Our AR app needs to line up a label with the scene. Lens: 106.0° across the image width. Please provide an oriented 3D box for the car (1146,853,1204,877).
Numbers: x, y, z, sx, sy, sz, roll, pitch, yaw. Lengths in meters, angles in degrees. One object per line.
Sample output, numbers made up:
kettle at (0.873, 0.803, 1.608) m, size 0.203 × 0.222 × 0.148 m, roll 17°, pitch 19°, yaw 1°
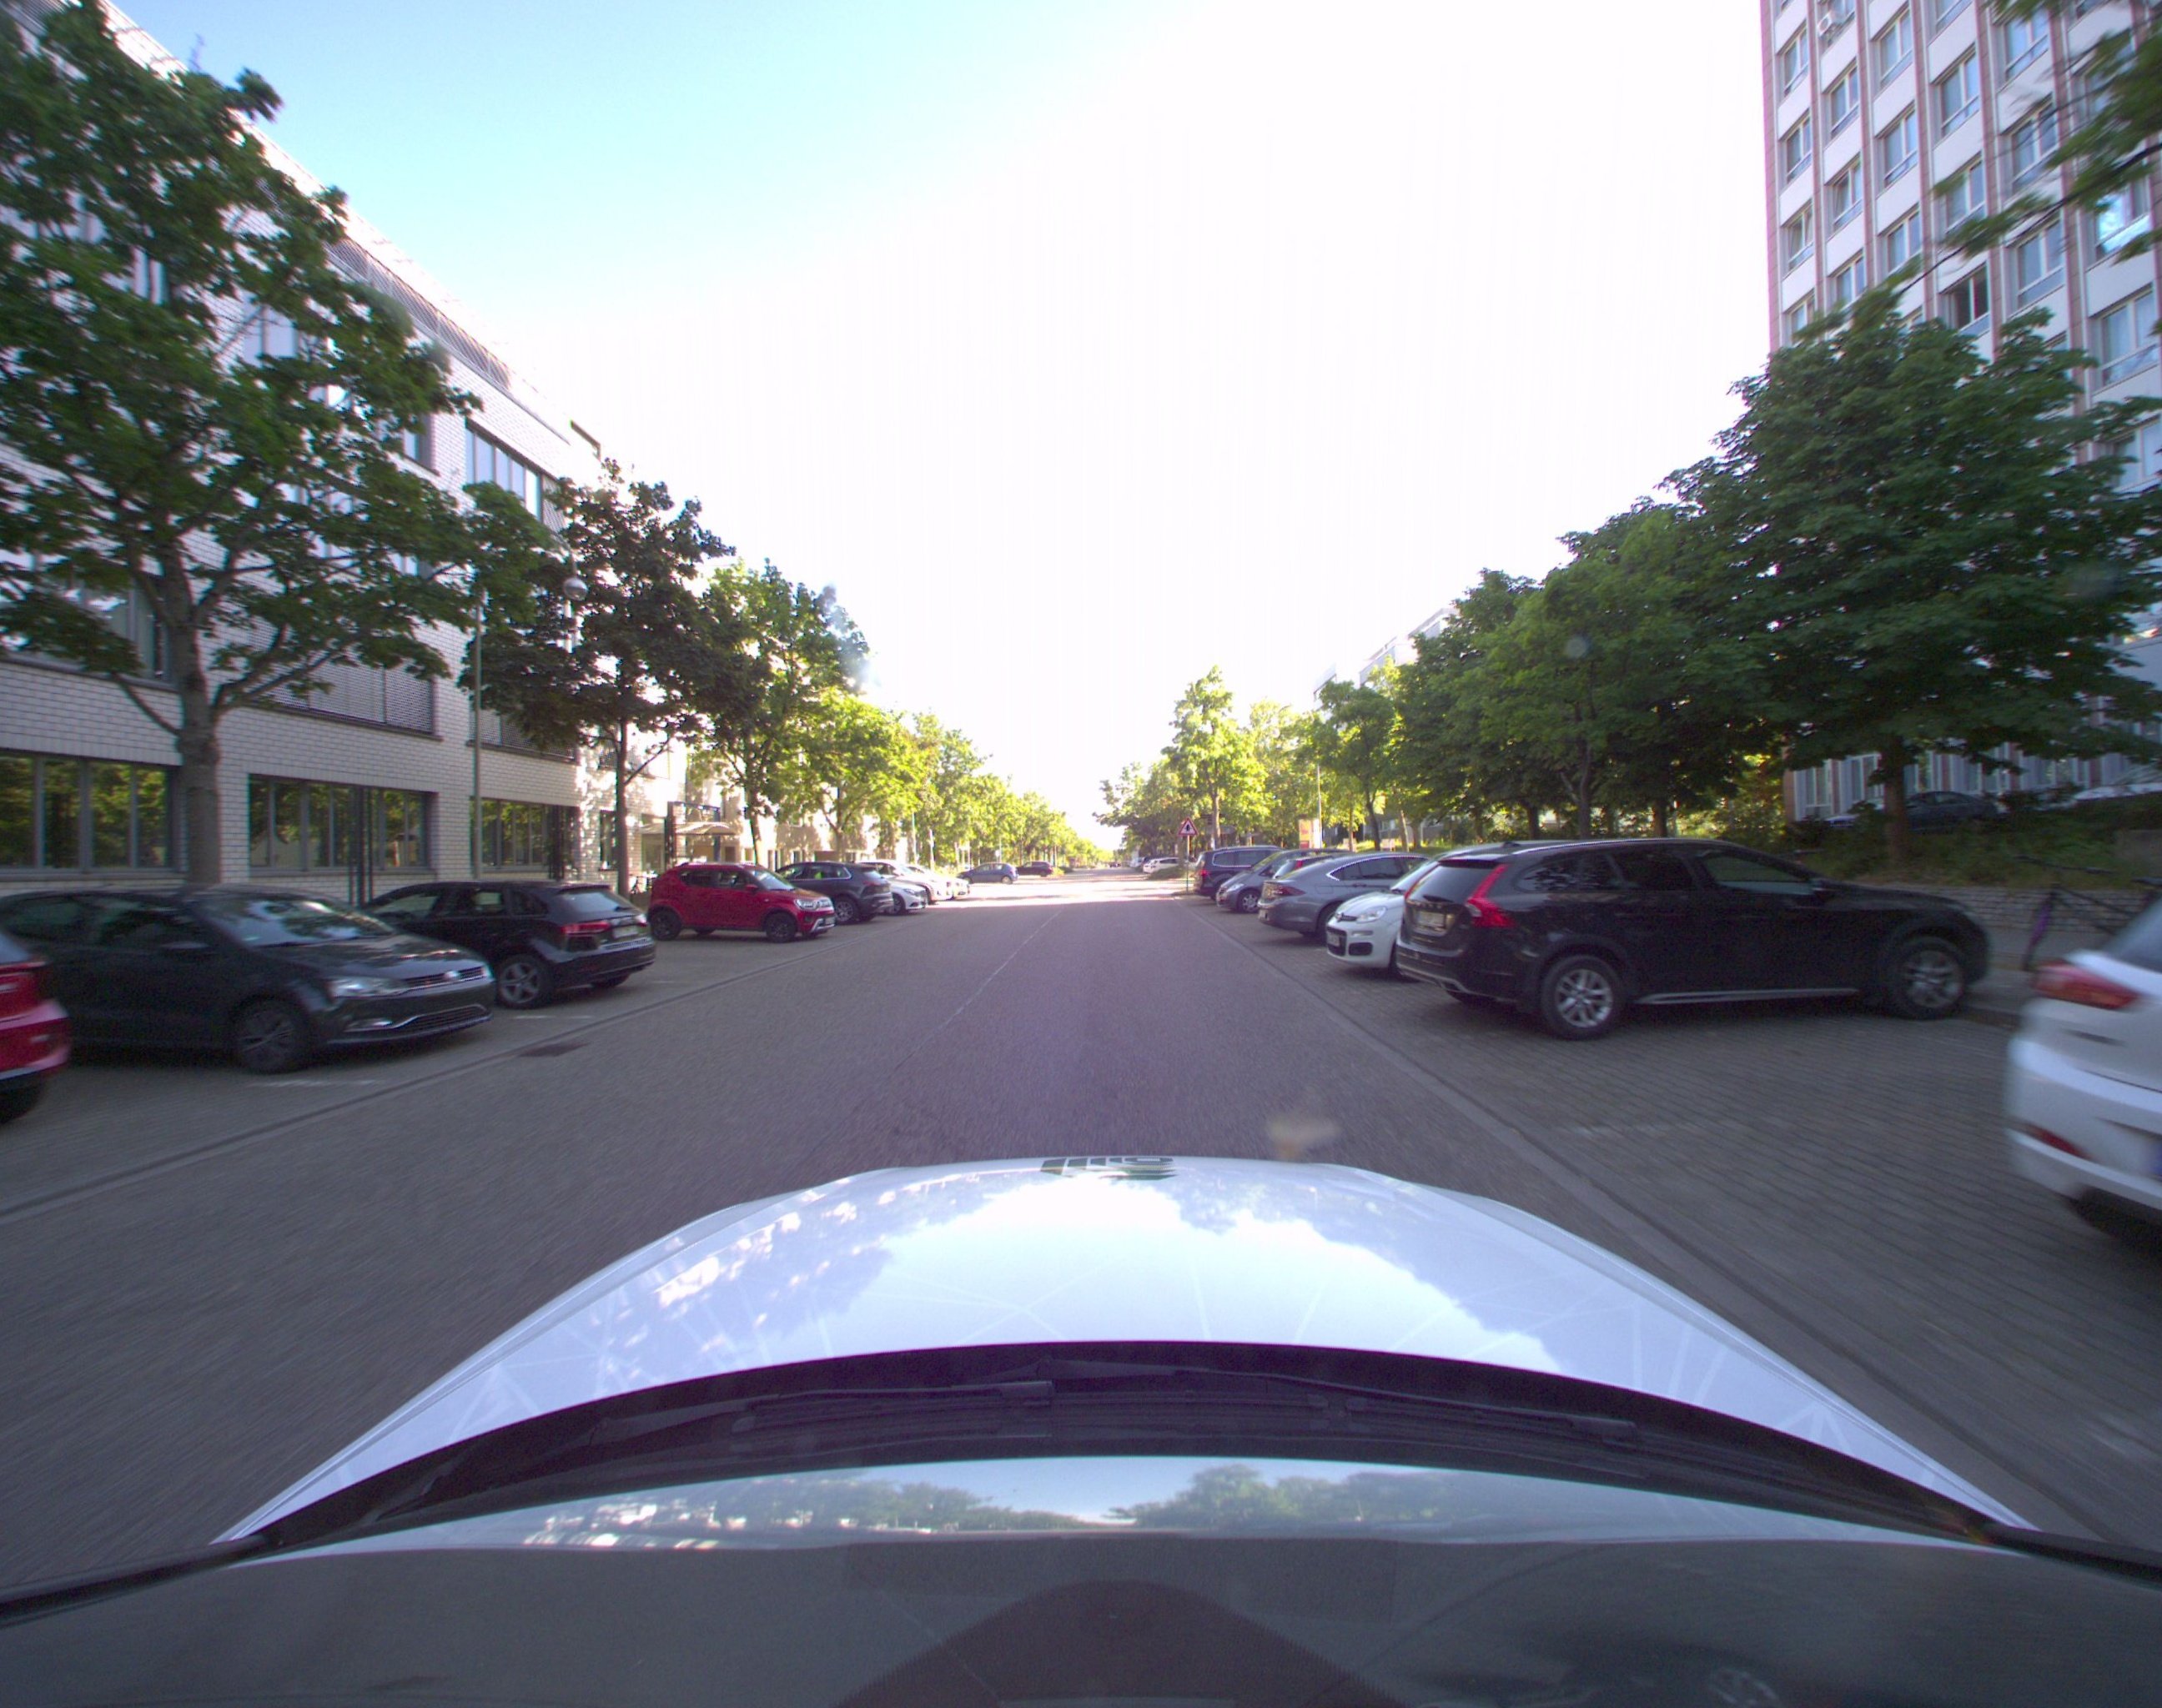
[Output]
car at (6.877, 0.818, 59.956) m, size 3.978 × 1.624 × 1.998 m, roll -1°, pitch -1°, yaw -3°

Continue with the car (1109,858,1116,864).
car at (9.428, 2.183, 245.630) m, size 1.926 × 1.597 × 4.368 m, roll -2°, pitch 0°, yaw 2°

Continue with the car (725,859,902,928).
car at (-6.900, 1.012, 21.239) m, size 3.968 × 1.587 × 1.767 m, roll -2°, pitch -2°, yaw 5°

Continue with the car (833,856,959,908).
car at (-6.618, 0.976, 29.365) m, size 3.968 × 1.654 × 1.862 m, roll -2°, pitch 0°, yaw 4°

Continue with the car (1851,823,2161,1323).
car at (5.010, 0.559, 2.375) m, size 3.742 × 1.449 × 1.879 m, roll -3°, pitch -1°, yaw -1°

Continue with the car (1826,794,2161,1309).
car at (4.979, 0.481, 2.313) m, size 3.851 × 1.468 × 1.967 m, roll -3°, pitch -1°, yaw 2°

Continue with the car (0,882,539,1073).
car at (-7.291, 0.979, 7.102) m, size 3.973 × 1.412 × 1.665 m, roll 0°, pitch -1°, yaw 0°

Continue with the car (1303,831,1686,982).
car at (5.013, 0.592, 10.145) m, size 4.038 × 1.591 × 1.547 m, roll -2°, pitch 0°, yaw -5°

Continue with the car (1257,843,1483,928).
car at (5.820, 0.619, 16.673) m, size 4.032 × 1.454 × 1.518 m, roll -3°, pitch -1°, yaw -1°

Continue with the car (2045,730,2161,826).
car at (23.014, -1.508, 16.779) m, size 4.061 × 1.783 × 1.998 m, roll 0°, pitch -1°, yaw -2°

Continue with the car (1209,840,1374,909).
car at (5.514, 0.534, 21.704) m, size 3.882 × 1.656 × 1.857 m, roll -1°, pitch -1°, yaw -2°

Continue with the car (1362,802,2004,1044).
car at (4.974, 0.525, 7.205) m, size 4.237 × 1.554 × 1.918 m, roll -4°, pitch 0°, yaw -2°

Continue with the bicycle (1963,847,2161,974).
bicycle at (9.287, 0.487, 7.351) m, size 0.380 × 1.078 × 1.776 m, roll -1°, pitch 0°, yaw -18°

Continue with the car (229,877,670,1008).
car at (-7.340, 0.995, 9.760) m, size 3.974 × 1.406 × 1.605 m, roll 0°, pitch -1°, yaw 0°

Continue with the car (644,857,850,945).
car at (-6.901, 0.959, 17.067) m, size 3.525 × 1.657 × 1.763 m, roll -2°, pitch -2°, yaw 3°

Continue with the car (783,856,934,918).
car at (-6.593, 0.947, 24.402) m, size 3.973 × 1.719 × 1.709 m, roll -1°, pitch 0°, yaw 1°

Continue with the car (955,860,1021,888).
car at (-5.823, 1.249, 51.405) m, size 3.977 × 1.533 × 1.616 m, roll -2°, pitch 0°, yaw -3°

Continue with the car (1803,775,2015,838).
car at (24.128, -1.351, 23.849) m, size 4.289 × 1.672 × 1.998 m, roll 0°, pitch -1°, yaw -2°

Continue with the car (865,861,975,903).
car at (-6.355, 1.092, 32.376) m, size 3.974 × 1.481 × 1.680 m, roll -1°, pitch -1°, yaw 0°

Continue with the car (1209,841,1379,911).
car at (5.558, 0.569, 21.573) m, size 4.032 × 1.582 × 1.640 m, roll -3°, pitch -1°, yaw -1°

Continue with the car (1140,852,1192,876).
car at (6.870, 0.789, 66.081) m, size 3.978 × 1.792 × 1.998 m, roll -1°, pitch -1°, yaw -3°

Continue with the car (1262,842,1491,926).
car at (5.958, 0.587, 16.735) m, size 4.033 × 1.421 × 1.735 m, roll -3°, pitch -1°, yaw -2°

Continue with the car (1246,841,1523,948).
car at (4.990, 0.654, 13.717) m, size 4.032 × 1.491 × 1.549 m, roll -3°, pitch -1°, yaw -1°

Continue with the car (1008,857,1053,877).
car at (-4.720, 1.213, 76.316) m, size 3.971 × 1.684 × 2.001 m, roll -2°, pitch 0°, yaw 2°

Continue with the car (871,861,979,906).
car at (-6.129, 1.150, 32.306) m, size 3.879 × 1.612 × 1.858 m, roll -1°, pitch -1°, yaw 1°

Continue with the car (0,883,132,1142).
car at (-7.945, 0.938, 4.432) m, size 3.411 × 1.463 × 1.694 m, roll 0°, pitch 0°, yaw -3°

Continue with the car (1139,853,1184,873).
car at (7.699, 0.839, 78.139) m, size 3.978 × 1.792 × 1.998 m, roll -1°, pitch -1°, yaw -3°
